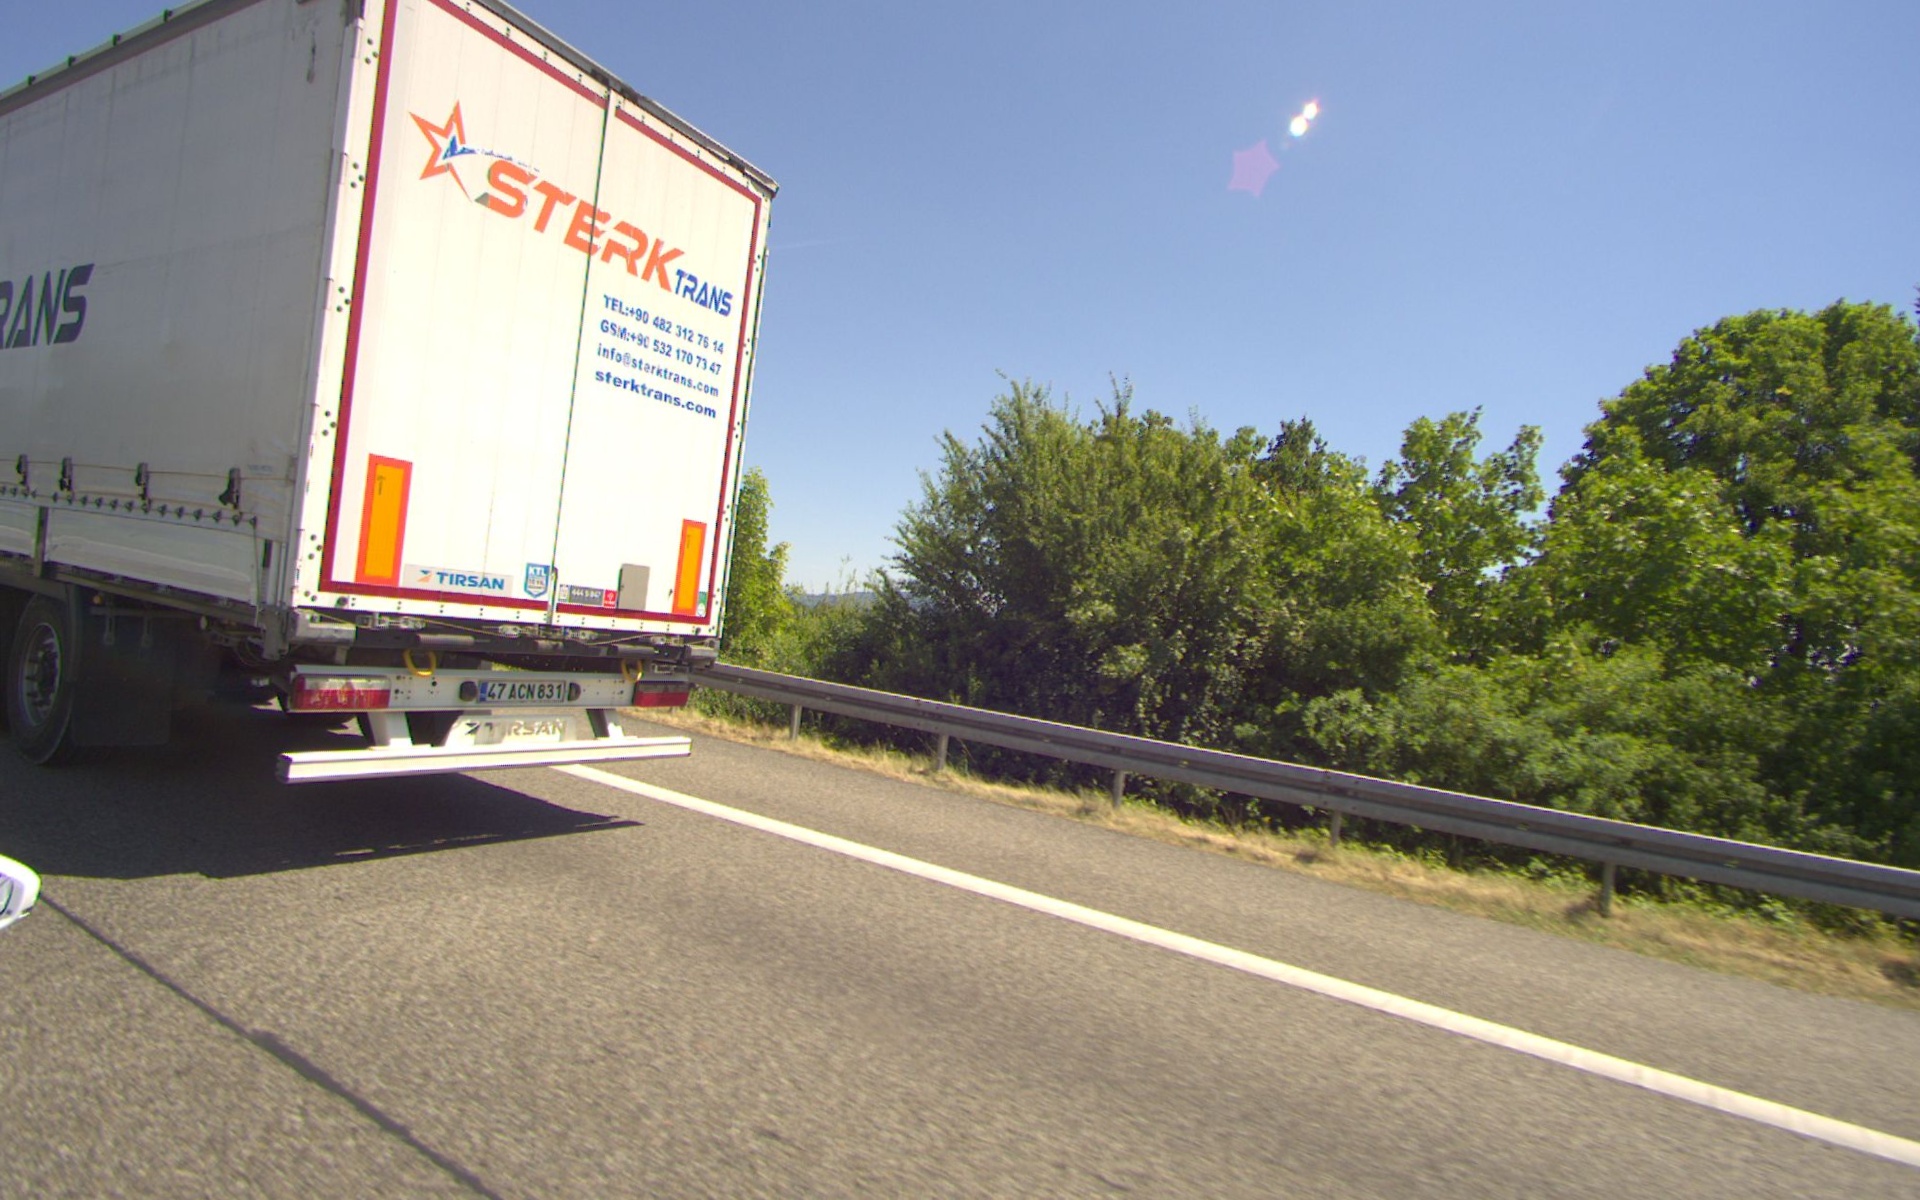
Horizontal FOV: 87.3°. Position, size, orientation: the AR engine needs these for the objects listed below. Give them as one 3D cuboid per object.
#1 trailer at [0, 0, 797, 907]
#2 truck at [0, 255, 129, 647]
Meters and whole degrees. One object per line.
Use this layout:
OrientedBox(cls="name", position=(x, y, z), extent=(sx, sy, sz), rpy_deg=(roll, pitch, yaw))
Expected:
OrientedBox(cls="trailer", position=(-7.842, -1.353, 8.820), extent=(13.917, 4.136, 2.712), rpy_deg=(6, -1, 32))
OrientedBox(cls="truck", position=(-13.472, -1.963, 12.320), extent=(6.850, 4.136, 2.712), rpy_deg=(6, -1, 32))
